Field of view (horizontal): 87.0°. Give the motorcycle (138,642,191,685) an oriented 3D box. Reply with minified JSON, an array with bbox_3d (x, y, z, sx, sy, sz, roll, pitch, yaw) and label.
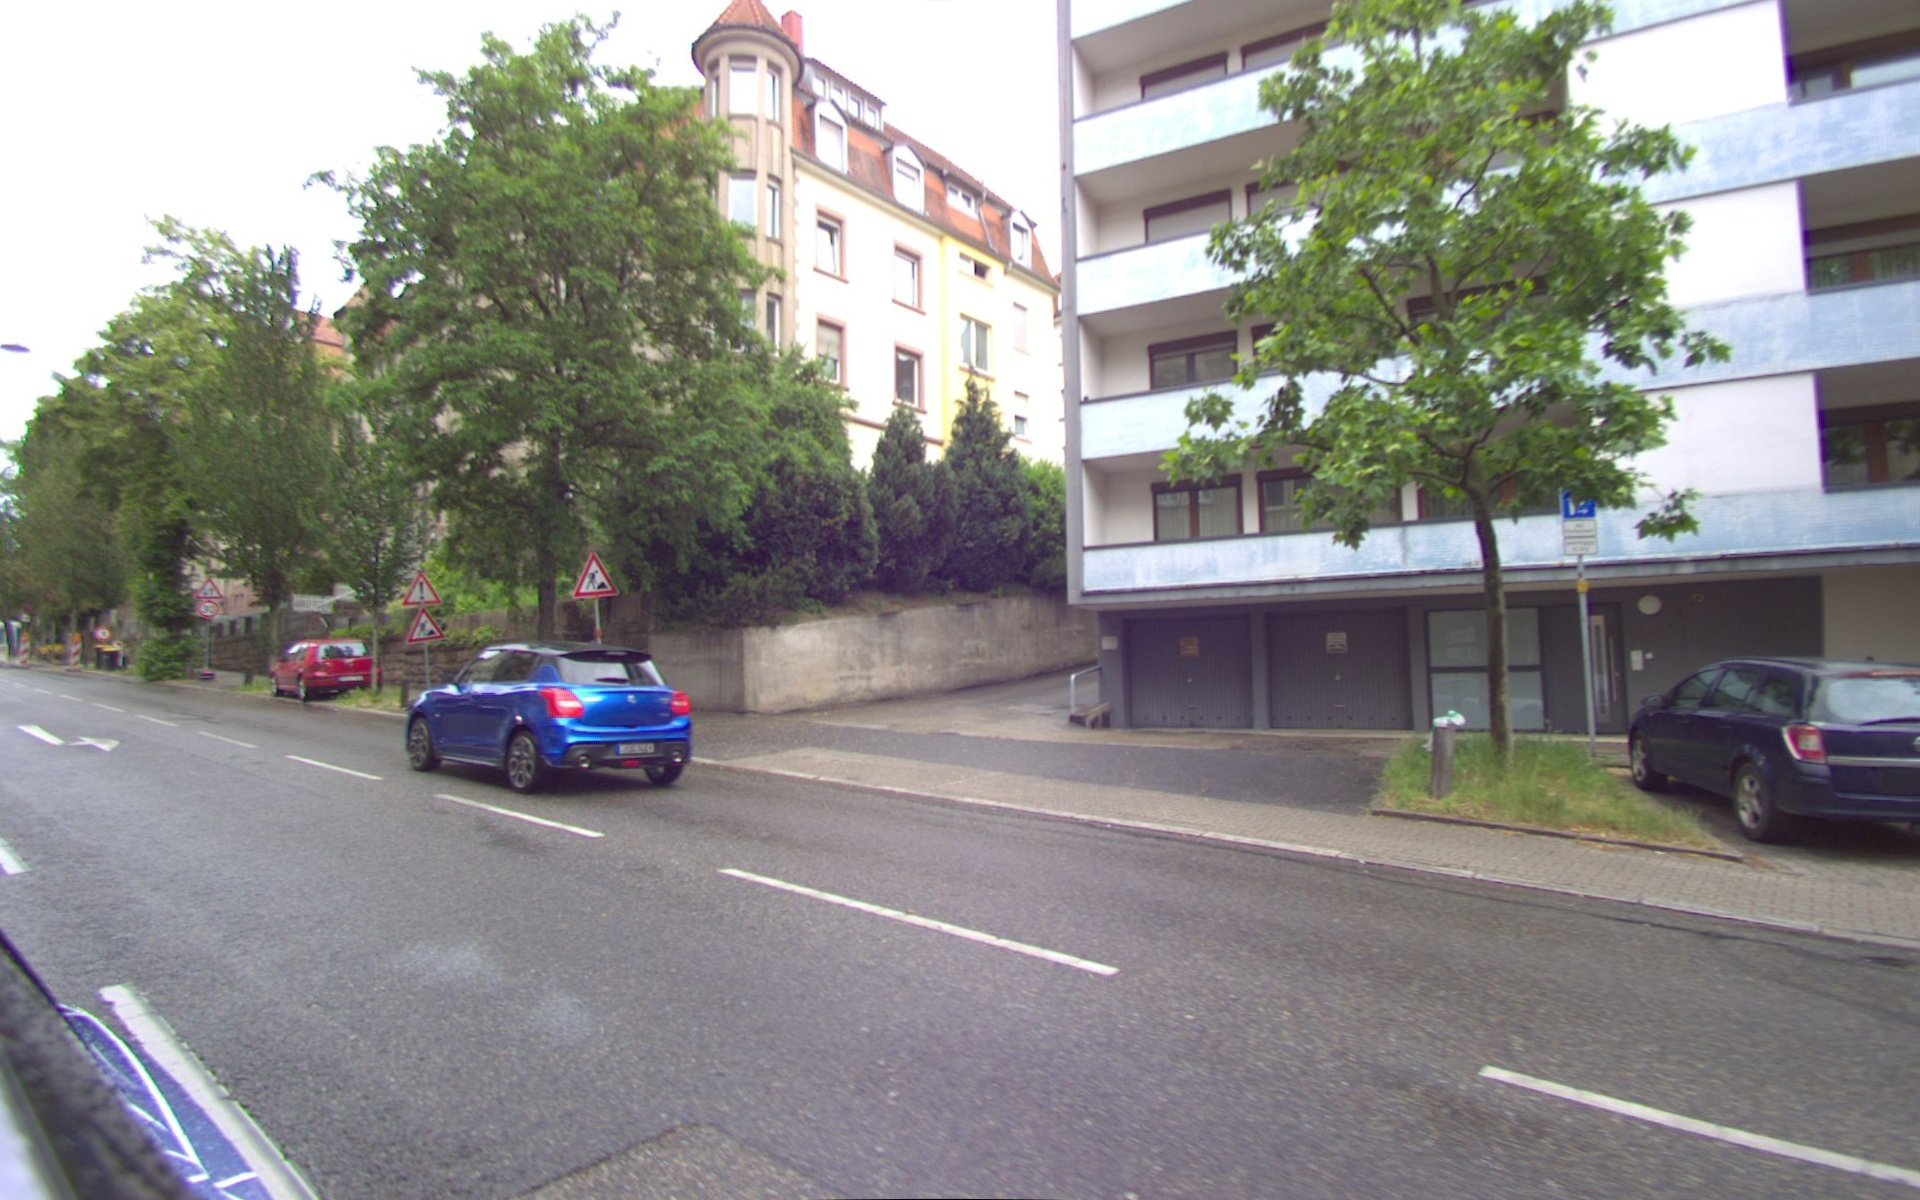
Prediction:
[{"bbox_3d":[-28.088,2.211,35.712,3.058,1.425,0.792,-2,-1,39],"label":"motorcycle"}]

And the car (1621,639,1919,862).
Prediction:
[{"bbox_3d":[7.849,1.167,9.285,1.928,1.586,4.342,0,-2,19],"label":"car"}]

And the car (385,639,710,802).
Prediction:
[{"bbox_3d":[-4.583,1.207,11.042,3.740,1.462,1.697,-2,-6,41],"label":"car"}]

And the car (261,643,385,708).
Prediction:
[{"bbox_3d":[-15.902,1.812,25.192,4.063,1.462,1.596,-2,-2,42],"label":"car"}]
